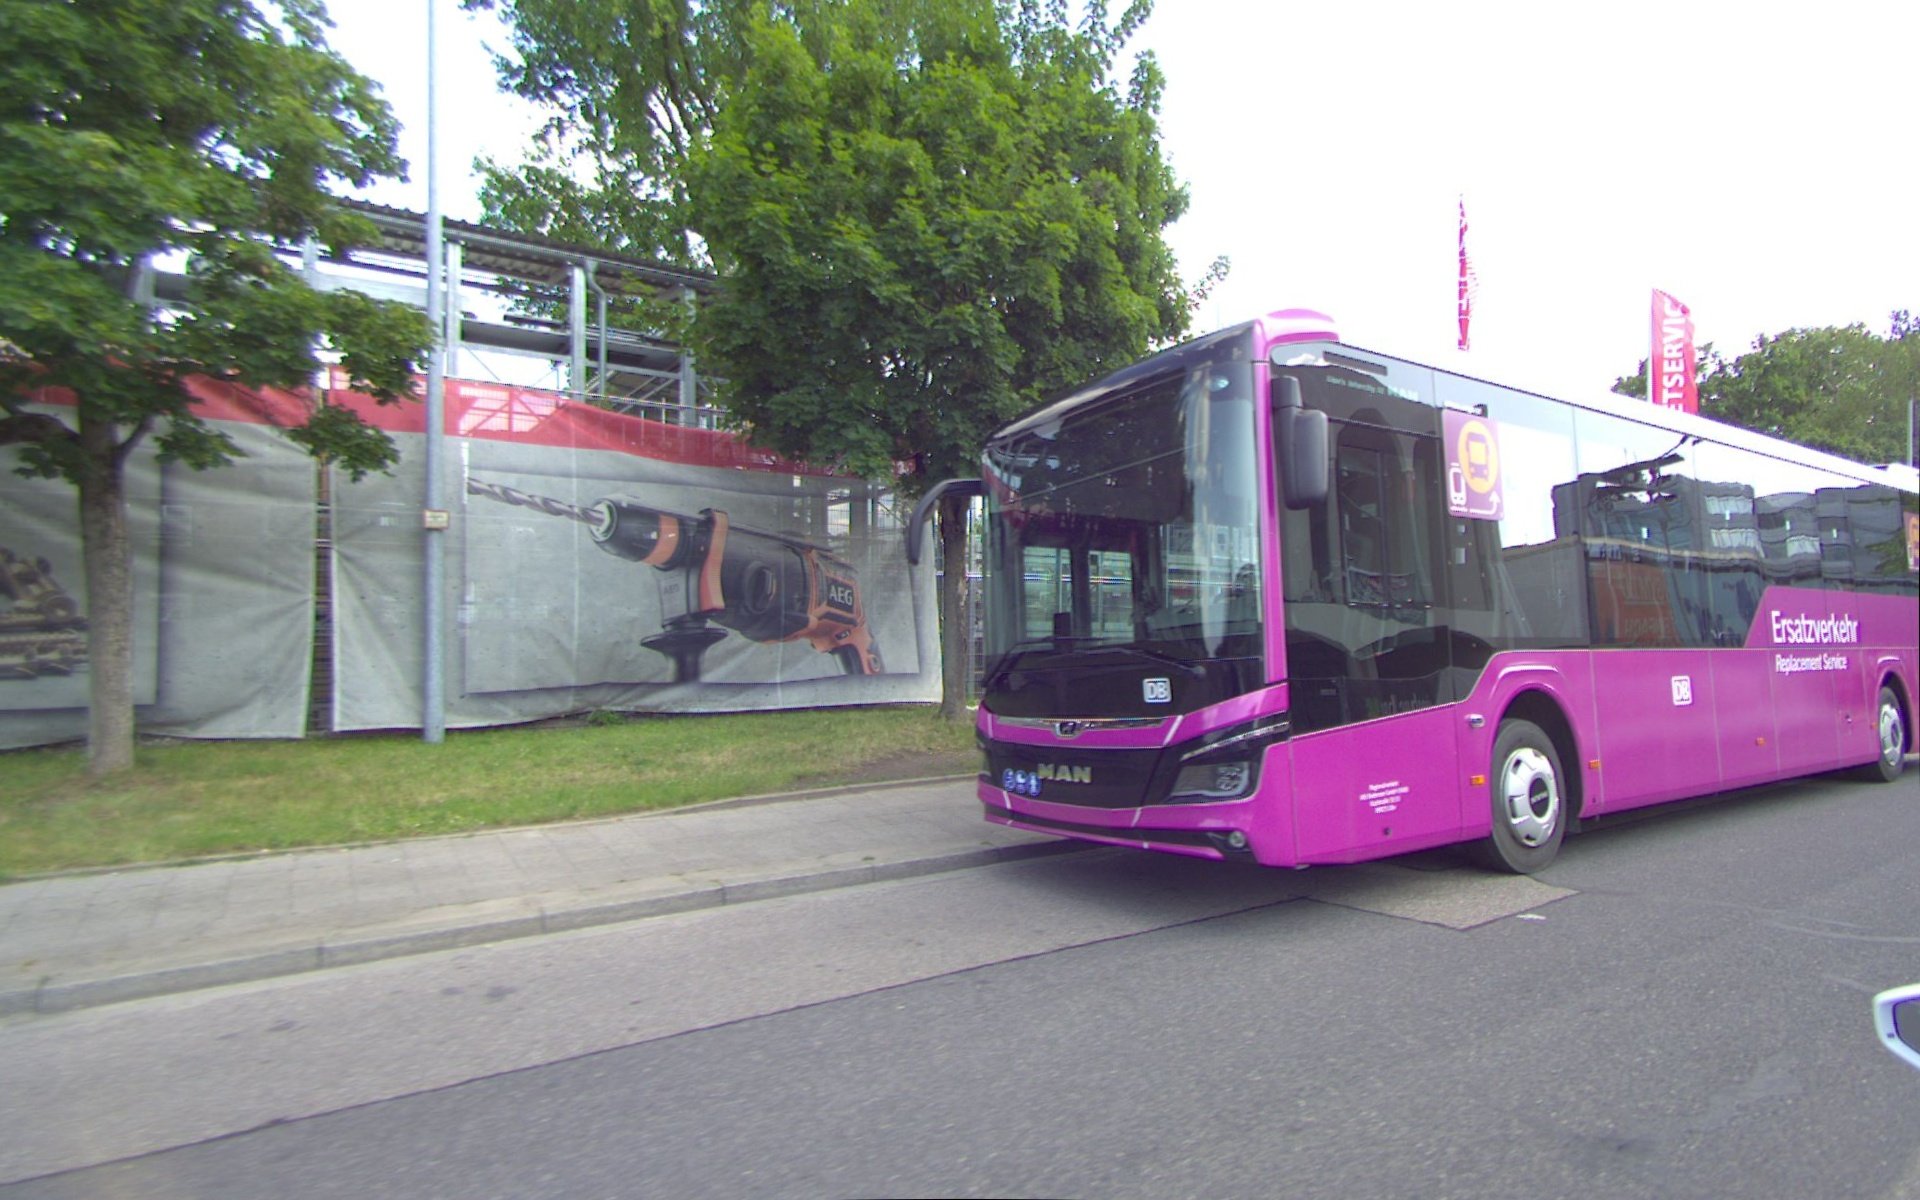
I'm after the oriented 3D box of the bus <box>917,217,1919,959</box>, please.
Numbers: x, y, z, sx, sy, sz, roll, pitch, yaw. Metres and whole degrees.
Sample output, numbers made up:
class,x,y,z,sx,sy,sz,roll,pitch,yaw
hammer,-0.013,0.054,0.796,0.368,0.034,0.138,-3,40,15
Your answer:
class,x,y,z,sx,sy,sz,roll,pitch,yaw
bus,5.892,0.092,9.426,13.078,3.467,2.648,1,-4,-34

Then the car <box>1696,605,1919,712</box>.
class,x,y,z,sx,sy,sz,roll,pitch,yaw
car,17.981,1.096,20.057,1.966,1.975,4.982,1,-1,-27
